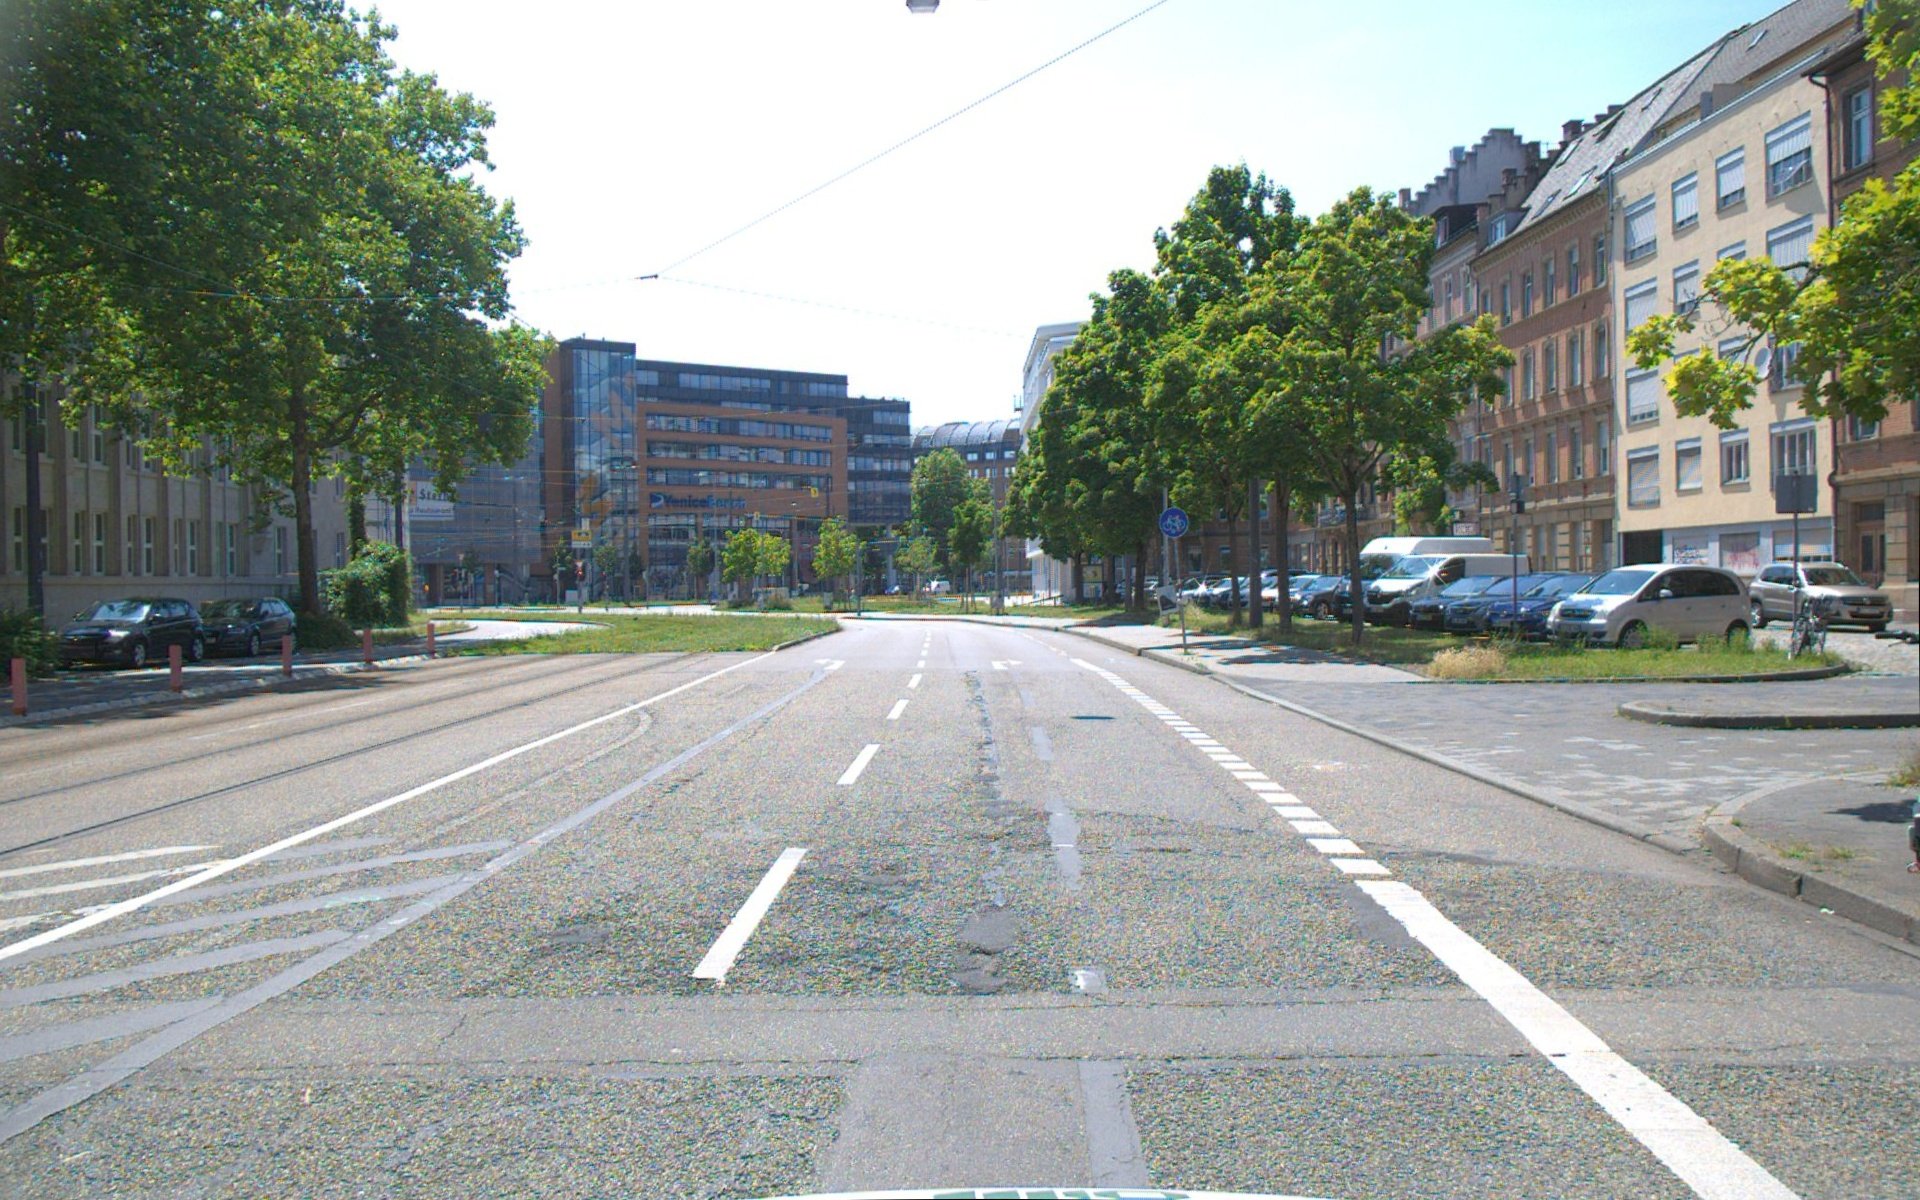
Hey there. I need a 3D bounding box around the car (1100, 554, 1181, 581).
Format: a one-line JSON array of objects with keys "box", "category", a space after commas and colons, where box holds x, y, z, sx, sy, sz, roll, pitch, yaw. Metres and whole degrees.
[{"box": [11.043, -1.992, 101.243, 4.803, 1.628, 1.819, -1, 1, -28], "category": "car"}]

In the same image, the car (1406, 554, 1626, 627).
[{"box": [12.263, -0.239, 36.486, 4.559, 1.523, 1.950, -1, 1, -25], "category": "car"}]

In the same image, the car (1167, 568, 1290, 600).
[{"box": [11.286, -0.689, 69.493, 4.707, 1.336, 2.135, 0, 1, -23], "category": "car"}]

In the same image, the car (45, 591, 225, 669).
[{"box": [-17.726, 0.599, 35.780, 1.727, 1.509, 4.323, 0, 1, 0], "category": "car"}]

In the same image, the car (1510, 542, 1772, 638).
[{"box": [12.419, -0.204, 30.182, 4.338, 1.660, 1.986, 0, 1, -23], "category": "car"}]

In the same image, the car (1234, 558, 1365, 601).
[{"box": [11.881, -0.727, 57.770, 4.644, 1.452, 1.946, -1, 1, -38], "category": "car"}]

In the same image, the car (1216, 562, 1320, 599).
[{"box": [11.976, -0.773, 64.242, 3.951, 1.424, 1.693, -1, 1, -33], "category": "car"}]

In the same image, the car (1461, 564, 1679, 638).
[{"box": [12.216, -0.013, 33.141, 3.931, 1.424, 1.812, 0, 1, -22], "category": "car"}]

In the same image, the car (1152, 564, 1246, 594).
[{"box": [11.145, -0.997, 77.133, 3.933, 1.336, 1.959, 0, 1, -23], "category": "car"}]

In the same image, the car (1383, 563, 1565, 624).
[{"box": [12.289, -0.181, 39.562, 3.931, 1.411, 1.812, 0, 1, -22], "category": "car"}]

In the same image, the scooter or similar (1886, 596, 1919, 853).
[{"box": [4.963, 0.630, 8.267, 0.382, 1.235, 1.180, -4, 2, 23], "category": "scooter or similar"}]

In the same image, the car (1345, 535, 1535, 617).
[{"box": [12.509, -0.633, 43.011, 4.781, 2.007, 2.056, -1, 1, -30], "category": "car"}]

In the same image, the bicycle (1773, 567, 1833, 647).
[{"box": [13.546, 0.085, 26.551, 0.725, 1.214, 2.355, 0, 1, 30], "category": "bicycle"}]

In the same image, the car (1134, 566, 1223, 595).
[{"box": [10.937, -0.994, 82.724, 4.282, 1.400, 1.569, -1, 1, -27], "category": "car"}]

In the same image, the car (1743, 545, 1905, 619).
[{"box": [21.004, -0.451, 40.397, 1.782, 1.713, 3.999, 0, 1, -2], "category": "car"}]

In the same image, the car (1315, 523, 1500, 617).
[{"box": [12.620, -0.842, 46.498, 5.494, 2.503, 2.208, -1, 1, -38], "category": "car"}]

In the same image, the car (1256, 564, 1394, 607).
[{"box": [12.001, -0.507, 54.308, 4.377, 1.362, 1.950, -1, 1, -33], "category": "car"}]

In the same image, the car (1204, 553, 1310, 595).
[{"box": [12.088, -1.060, 67.336, 3.940, 1.691, 1.955, -1, 1, -27], "category": "car"}]

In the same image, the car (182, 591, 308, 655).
[{"box": [-17.830, 0.540, 41.461, 1.556, 1.448, 4.320, 0, 1, -4], "category": "car"}]
